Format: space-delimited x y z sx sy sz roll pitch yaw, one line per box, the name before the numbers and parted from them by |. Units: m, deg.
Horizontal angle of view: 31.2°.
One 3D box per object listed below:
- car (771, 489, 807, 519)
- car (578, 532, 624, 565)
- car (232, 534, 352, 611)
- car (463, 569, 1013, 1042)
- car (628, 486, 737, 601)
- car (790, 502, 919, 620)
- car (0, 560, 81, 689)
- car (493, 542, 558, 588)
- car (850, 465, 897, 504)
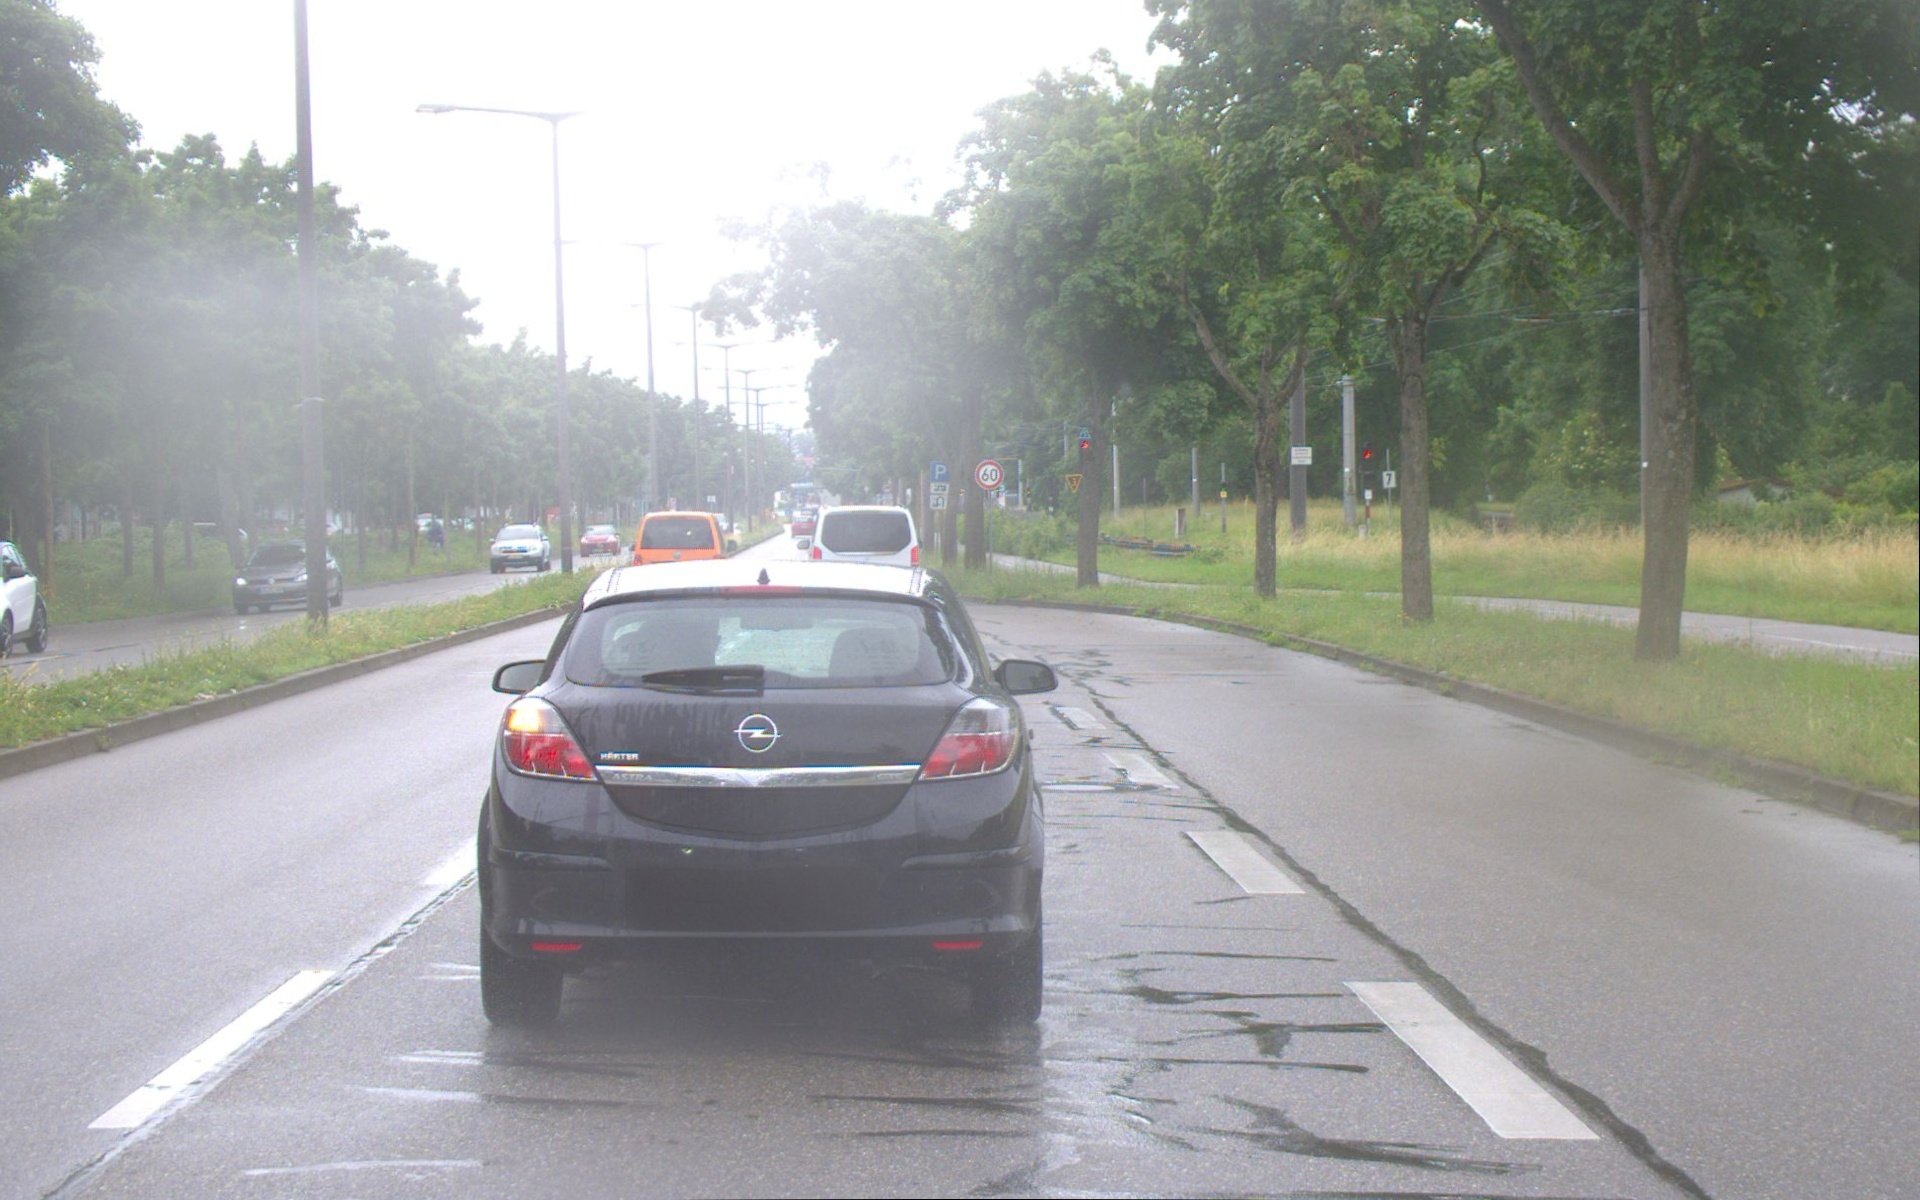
car | -11.045 -6.219 222.449 1.994 1.873 4.000 0 0 2
car | -16.661 -2.393 159.731 1.720 1.524 3.809 -1 1 0
car | -13.744 -0.580 70.938 1.720 1.524 3.809 -1 1 0
car | -0.599 0.565 11.555 1.463 1.324 3.757 0 0 2
car | -5.189 -1.038 64.809 1.734 2.012 4.849 2 0 -2
car | -1.881 -0.663 59.994 2.059 1.968 4.609 0 0 -4
car | -12.946 0.302 45.341 1.720 1.524 3.809 -1 2 0
car | -14.927 -1.228 118.288 1.720 1.524 3.809 -1 1 0
car | -4.857 -6.491 193.111 2.516 2.045 5.294 2 2 -1
